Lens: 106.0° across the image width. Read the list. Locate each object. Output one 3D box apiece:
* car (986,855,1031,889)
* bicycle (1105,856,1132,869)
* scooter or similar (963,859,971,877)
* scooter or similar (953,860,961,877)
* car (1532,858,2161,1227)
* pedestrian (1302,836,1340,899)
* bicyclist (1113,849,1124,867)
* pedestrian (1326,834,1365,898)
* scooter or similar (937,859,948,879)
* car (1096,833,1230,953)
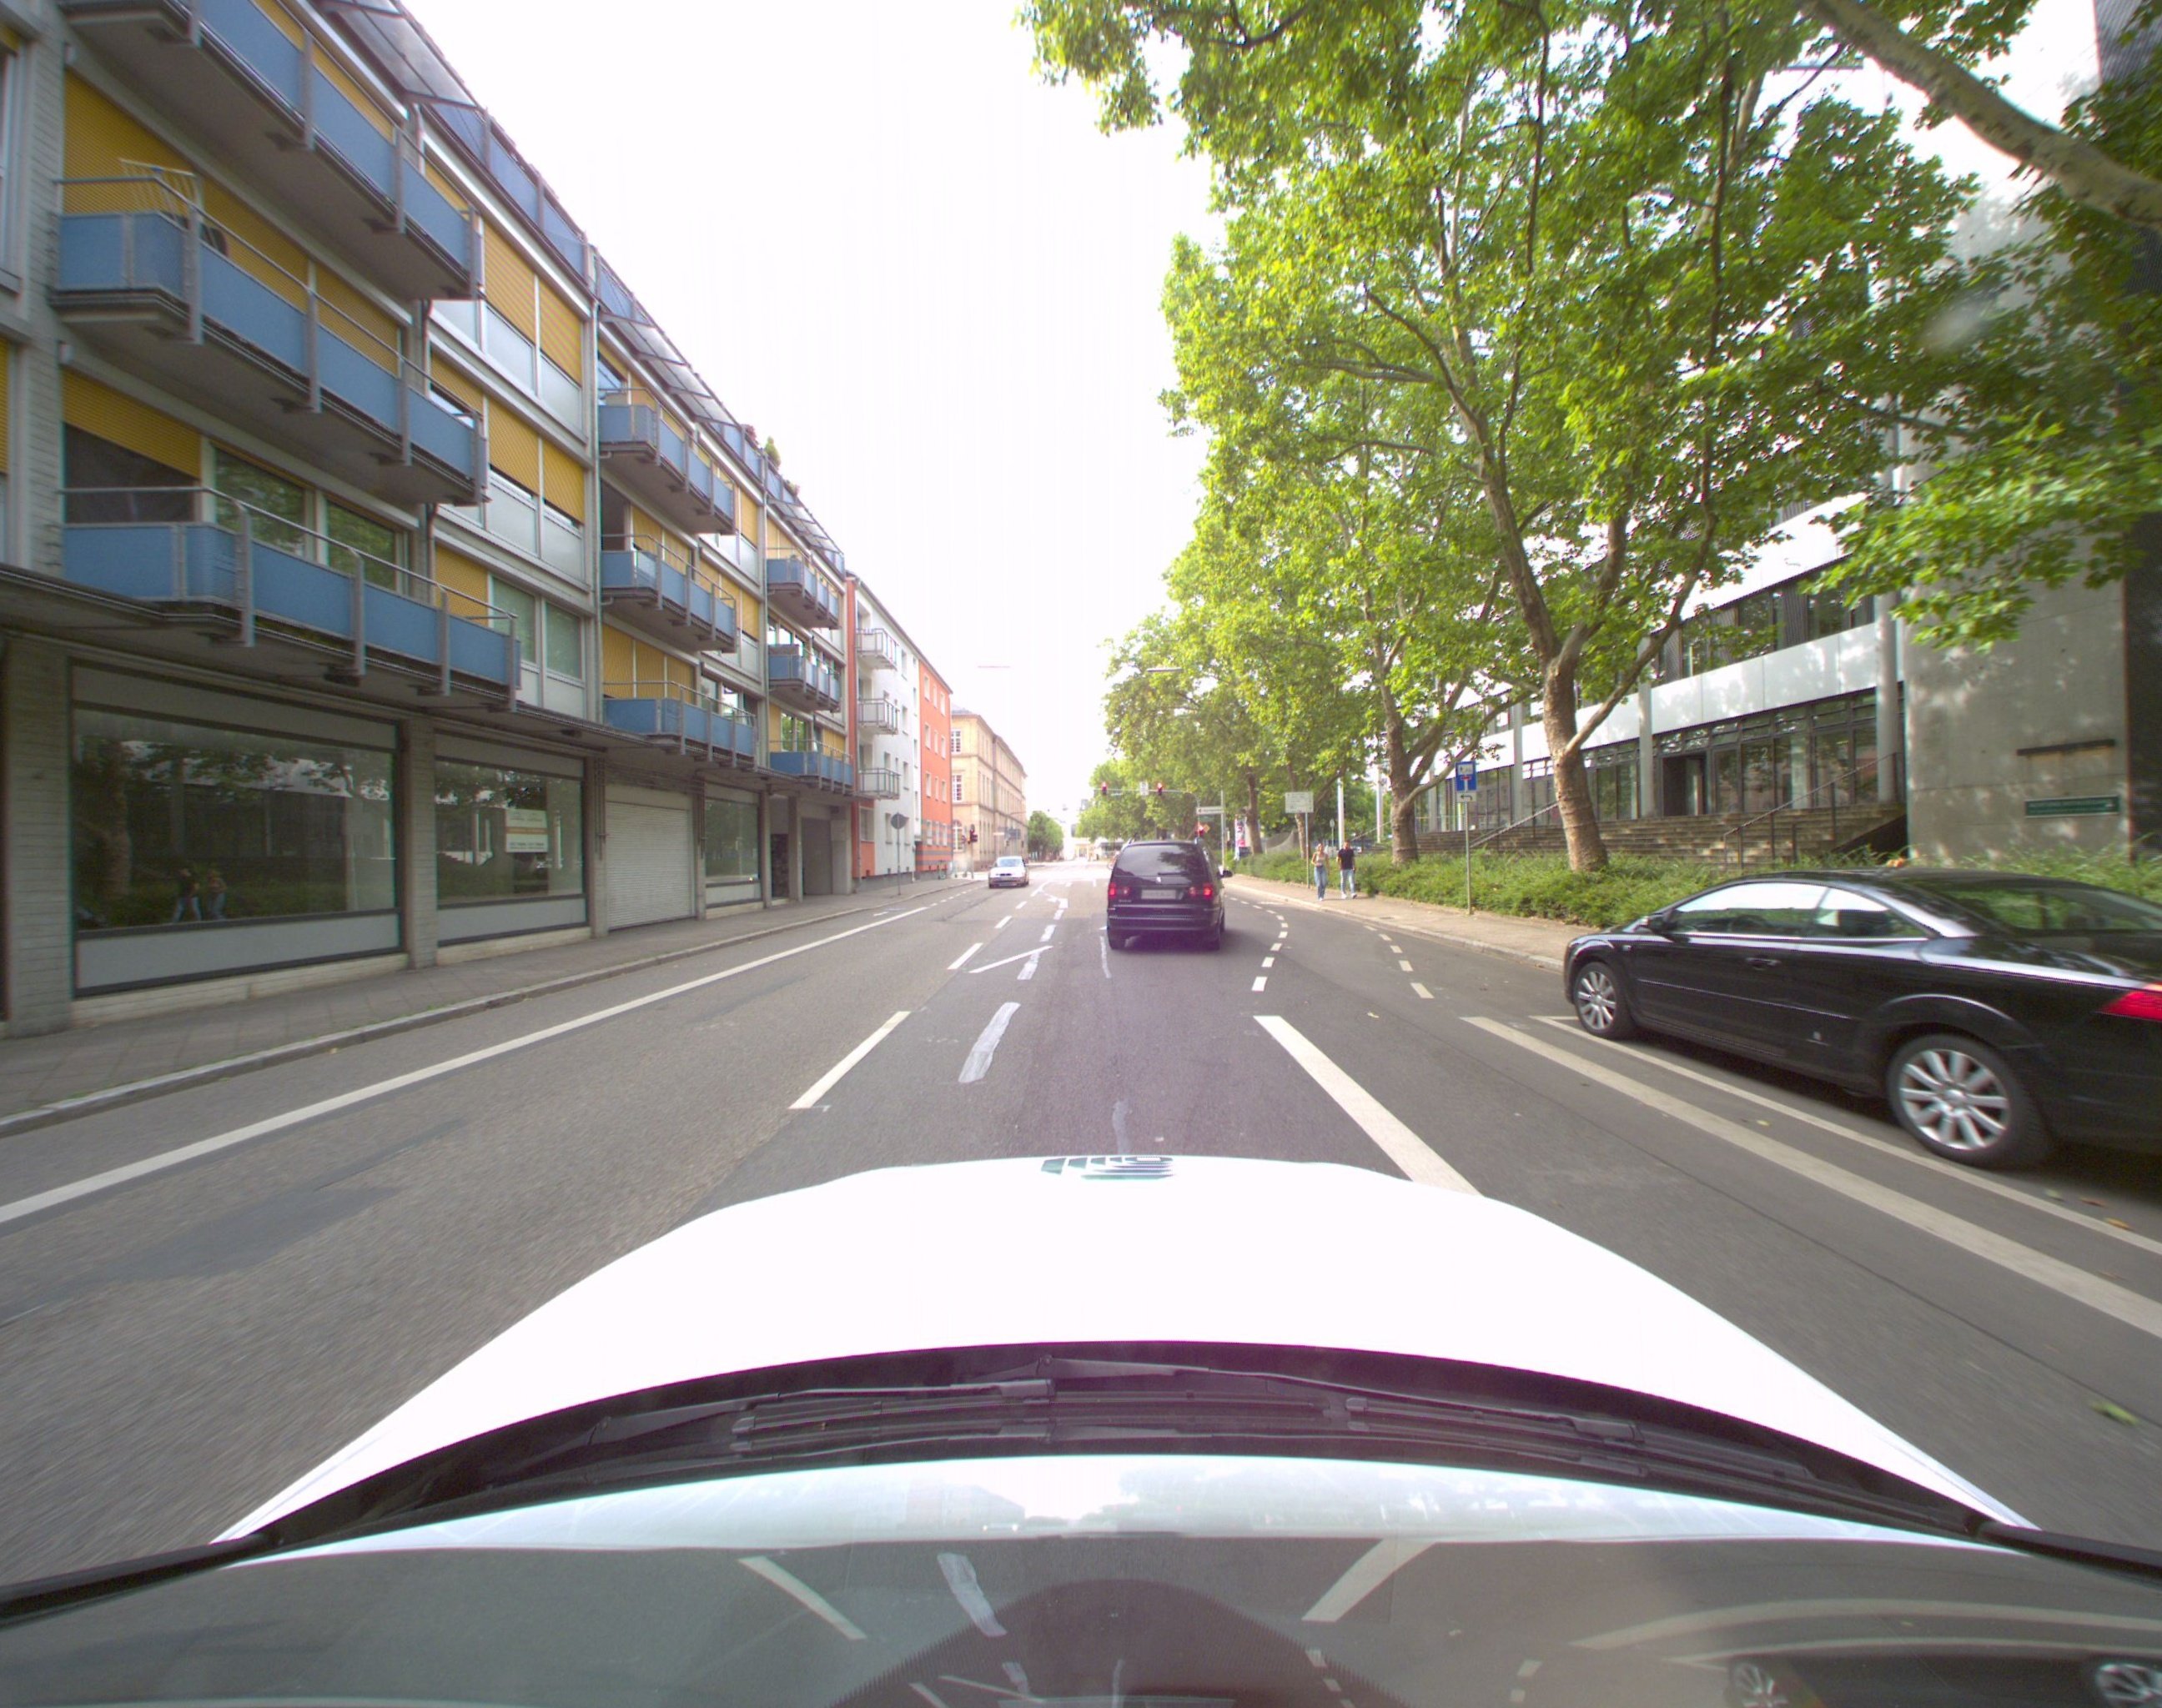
[{"bbox_3d":[-3.405,0.814,39.007,1.752,1.427,4.098,-3,0,0],"label":"car"},{"bbox_3d":[3.206,0.723,69.069,2.230,1.094,0.626,-1,0,-5],"label":"bicycle"},{"bbox_3d":[-7.718,0.957,55.260,0.377,1.144,1.140,-1,-2,-3],"label":"scooter or similar"},{"bbox_3d":[-8.312,0.960,54.752,0.377,1.147,1.140,-1,-2,-3],"label":"scooter or similar"},{"bbox_3d":[5.047,0.756,5.304,1.693,1.425,4.419,0,0,-2],"label":"car"},{"bbox_3d":[7.022,0.396,23.855,0.708,1.783,1.033,-3,-1,-1],"label":"pedestrian"},{"bbox_3d":[3.184,0.376,69.060,0.912,1.493,0.625,-1,0,-4],"label":"bicyclist"},{"bbox_3d":[7.747,0.338,23.870,0.713,1.800,1.033,-3,-1,-1],"label":"pedestrian"},{"bbox_3d":[-8.234,0.893,48.535,0.376,1.184,1.390,-1,-2,1],"label":"scooter or similar"},{"bbox_3d":[1.606,0.569,14.280,1.861,1.745,4.588,-1,0,11],"label":"car"}]
